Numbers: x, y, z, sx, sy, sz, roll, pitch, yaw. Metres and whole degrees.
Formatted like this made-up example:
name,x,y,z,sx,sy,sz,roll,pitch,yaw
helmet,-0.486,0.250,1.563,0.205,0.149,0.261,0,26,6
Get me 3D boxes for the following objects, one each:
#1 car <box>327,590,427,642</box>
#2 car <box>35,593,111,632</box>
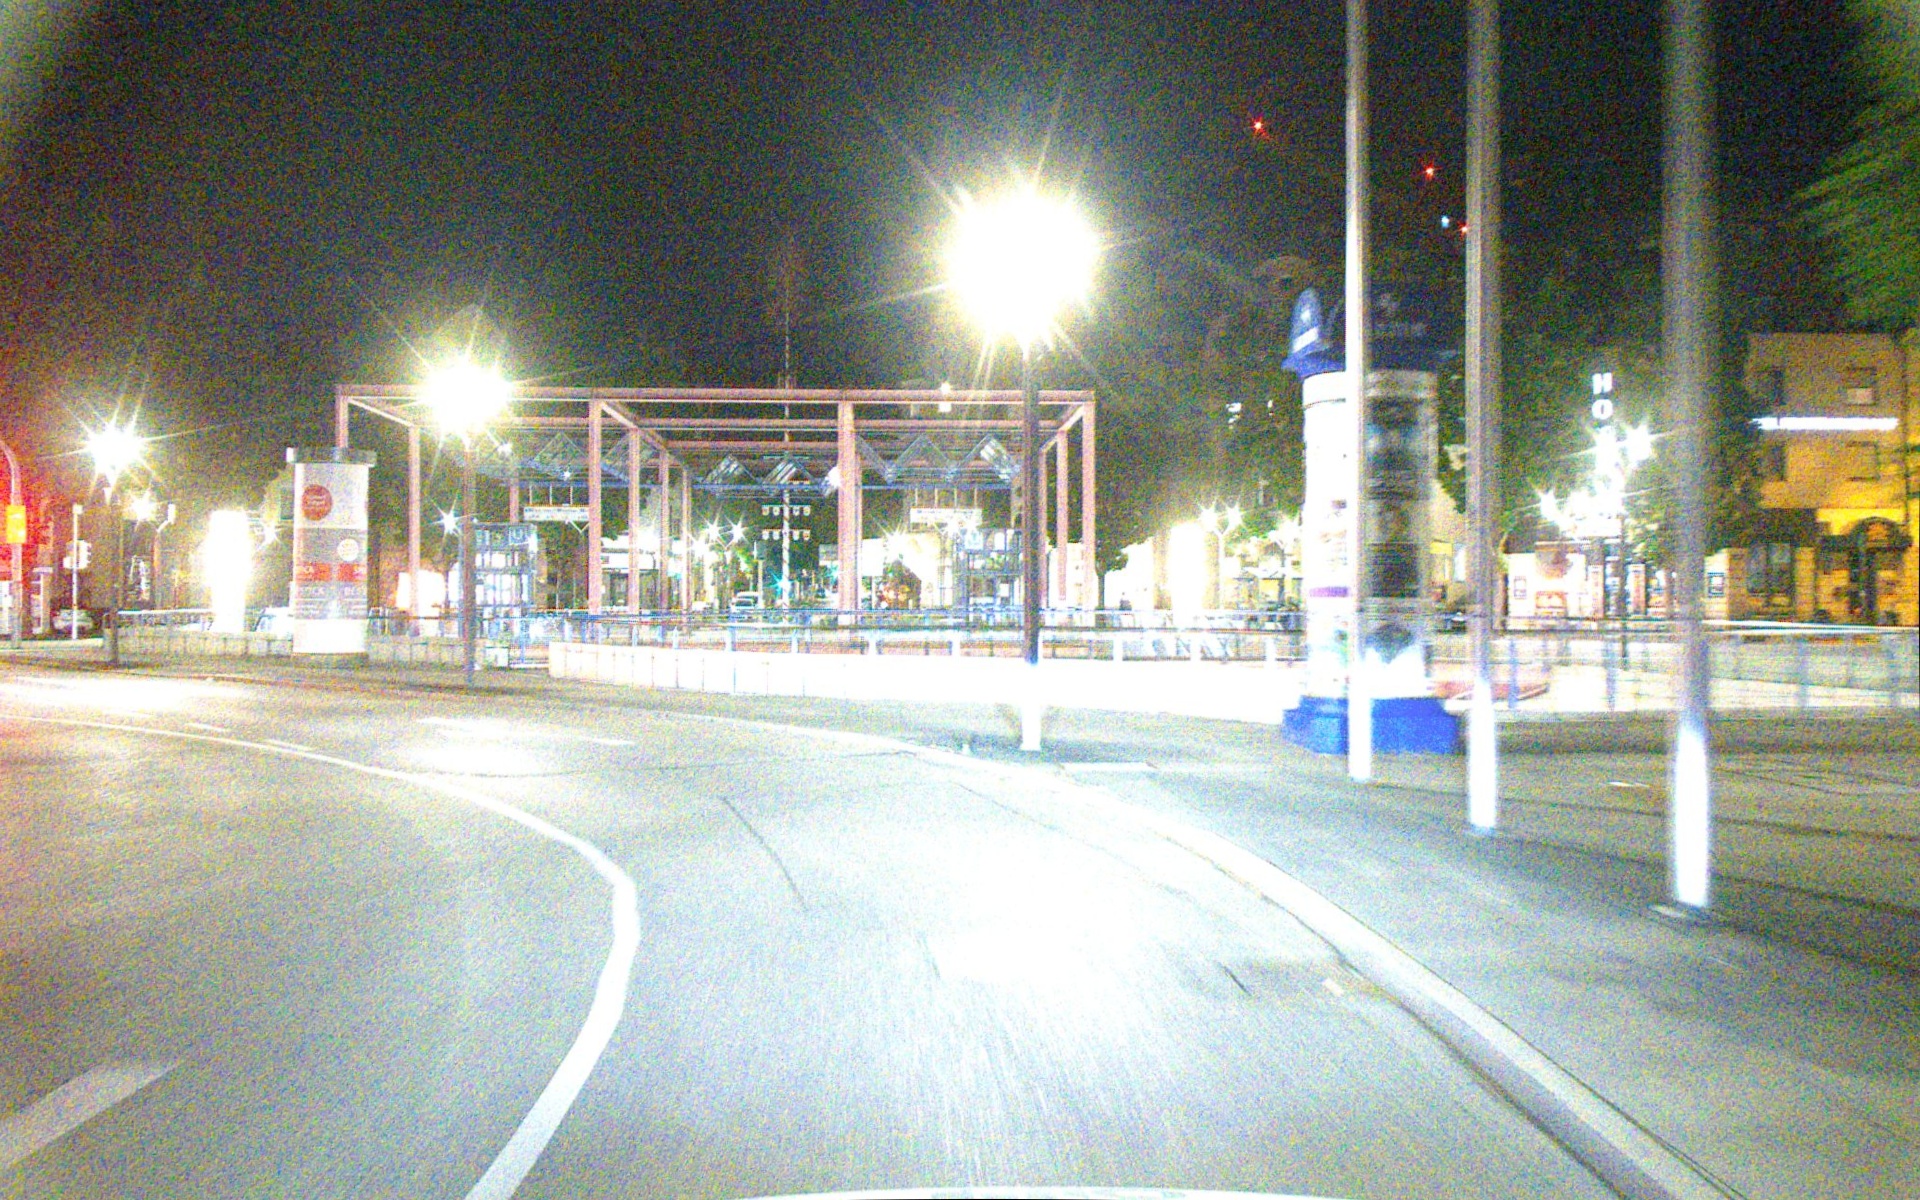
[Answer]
name,x,y,z,sx,sy,sz,roll,pitch,yaw
car,-18.462,0.480,52.573,1.955,1.601,4.324,0,0,-5
car,-37.987,0.519,70.777,1.985,1.601,3.595,0,0,-44
